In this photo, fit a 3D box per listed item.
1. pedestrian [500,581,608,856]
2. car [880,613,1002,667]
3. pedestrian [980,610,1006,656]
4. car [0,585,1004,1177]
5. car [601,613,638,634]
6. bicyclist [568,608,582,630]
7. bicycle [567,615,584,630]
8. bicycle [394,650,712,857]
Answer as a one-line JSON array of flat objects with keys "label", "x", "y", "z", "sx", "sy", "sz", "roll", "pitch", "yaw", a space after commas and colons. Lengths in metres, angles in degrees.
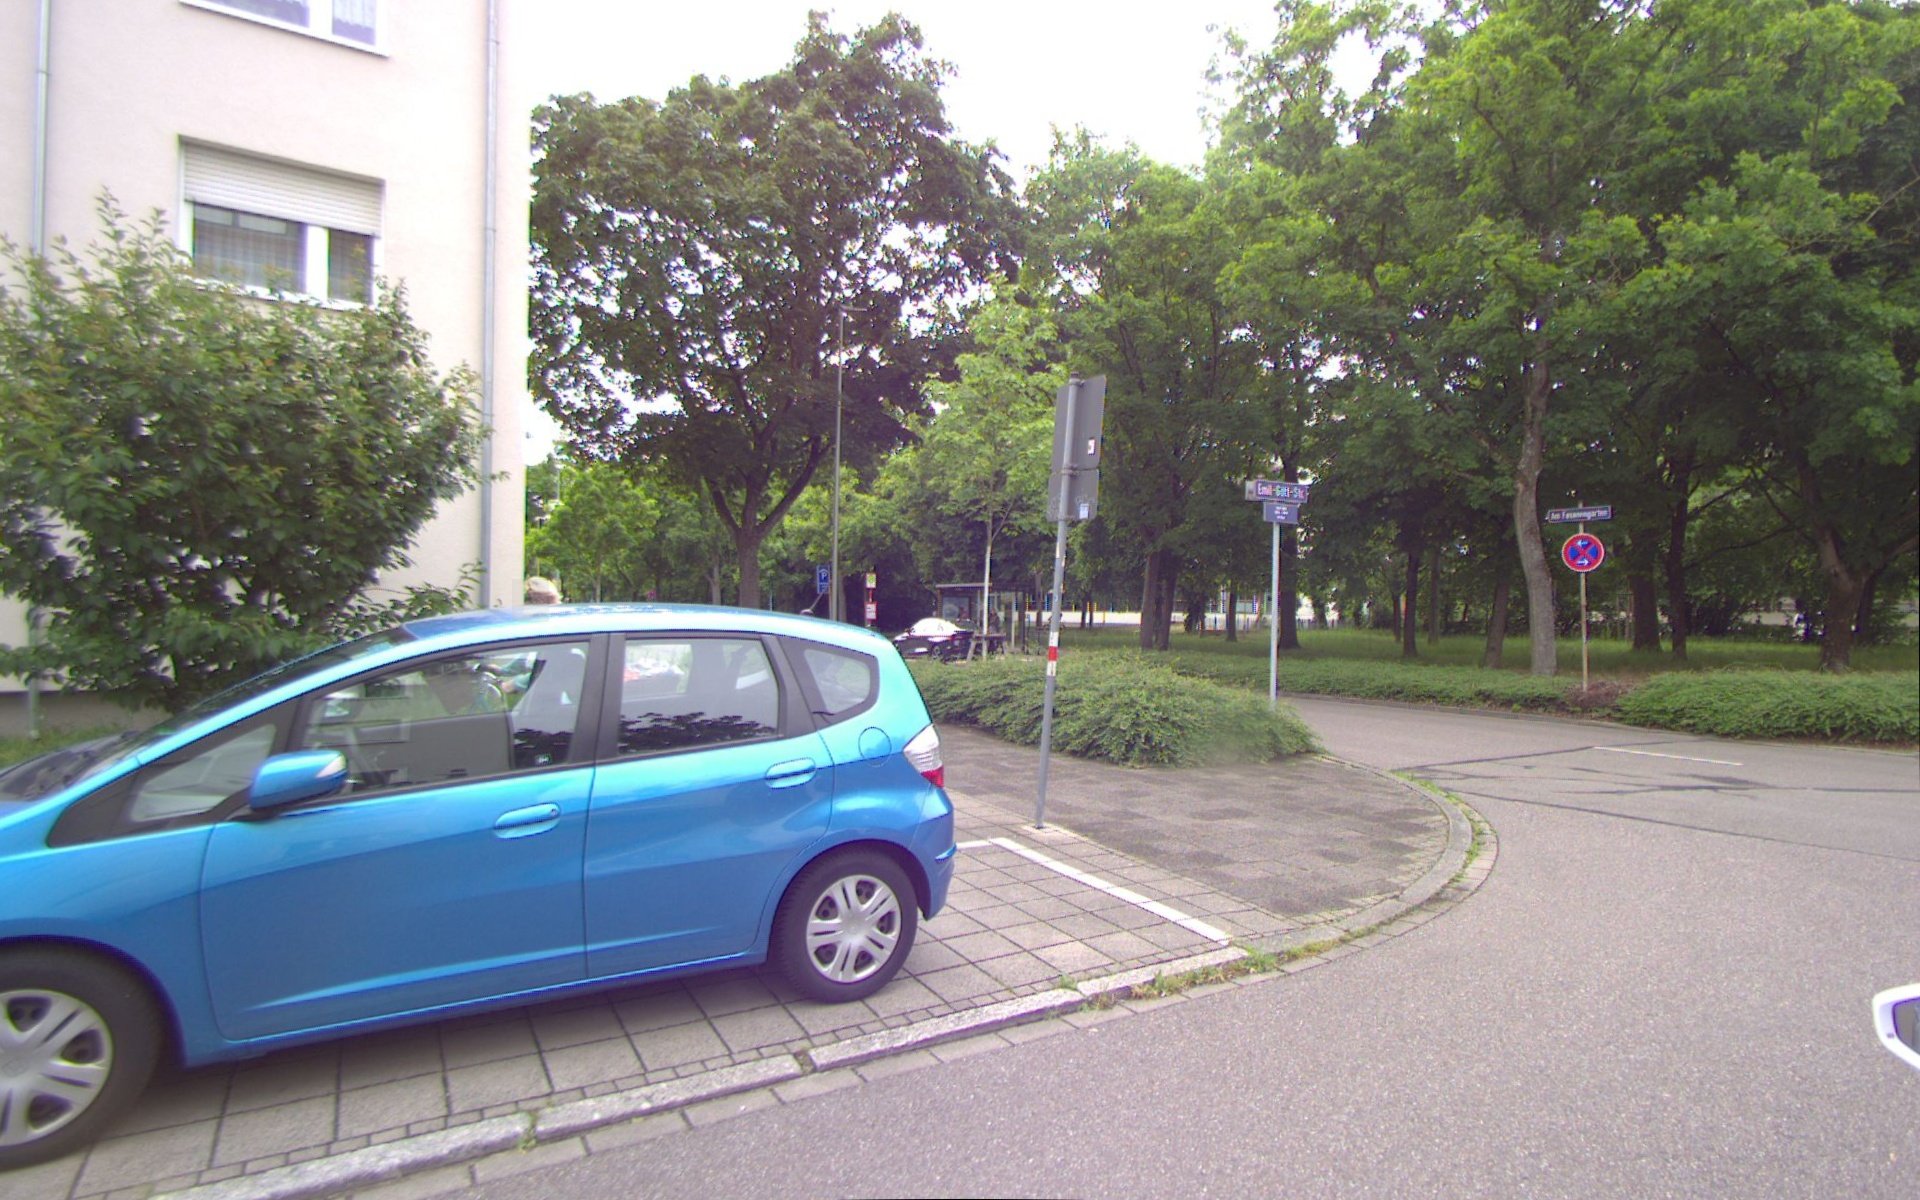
[{"label": "pedestrian", "x": -2.457, "y": 0.680, "z": 6.067, "sx": 0.560, "sy": 1.570, "sz": 0.445, "roll": 0, "pitch": 0, "yaw": -27}, {"label": "car", "x": -0.654, "y": 1.153, "z": 30.164, "sx": 1.850, "sy": 1.482, "sz": 4.081, "roll": 1, "pitch": -1, "yaw": -32}, {"label": "pedestrian", "x": 1.145, "y": 1.153, "z": 35.221, "sx": 0.648, "sy": 1.604, "sz": 0.693, "roll": 0, "pitch": 0, "yaw": -29}, {"label": "car", "x": -1.940, "y": 0.740, "z": 3.916, "sx": 3.912, "sy": 1.482, "sz": 1.721, "roll": 1, "pitch": 2, "yaw": -32}, {"label": "car", "x": -25.926, "y": 1.773, "z": 76.521, "sx": 1.884, "sy": 1.506, "sz": 3.967, "roll": 1, "pitch": -1, "yaw": -31}, {"label": "bicyclist", "x": -26.689, "y": 1.304, "z": 69.686, "sx": 0.777, "sy": 1.489, "sz": 0.930, "roll": 0, "pitch": 0, "yaw": -29}, {"label": "bicycle", "x": -26.702, "y": 1.539, "z": 69.693, "sx": 0.787, "sy": 1.039, "sz": 2.545, "roll": 0, "pitch": 0, "yaw": -28}, {"label": "bicycle", "x": -2.527, "y": 0.901, "z": 6.351, "sx": 1.794, "sy": 1.134, "sz": 0.534, "roll": 1, "pitch": 0, "yaw": -27}]
